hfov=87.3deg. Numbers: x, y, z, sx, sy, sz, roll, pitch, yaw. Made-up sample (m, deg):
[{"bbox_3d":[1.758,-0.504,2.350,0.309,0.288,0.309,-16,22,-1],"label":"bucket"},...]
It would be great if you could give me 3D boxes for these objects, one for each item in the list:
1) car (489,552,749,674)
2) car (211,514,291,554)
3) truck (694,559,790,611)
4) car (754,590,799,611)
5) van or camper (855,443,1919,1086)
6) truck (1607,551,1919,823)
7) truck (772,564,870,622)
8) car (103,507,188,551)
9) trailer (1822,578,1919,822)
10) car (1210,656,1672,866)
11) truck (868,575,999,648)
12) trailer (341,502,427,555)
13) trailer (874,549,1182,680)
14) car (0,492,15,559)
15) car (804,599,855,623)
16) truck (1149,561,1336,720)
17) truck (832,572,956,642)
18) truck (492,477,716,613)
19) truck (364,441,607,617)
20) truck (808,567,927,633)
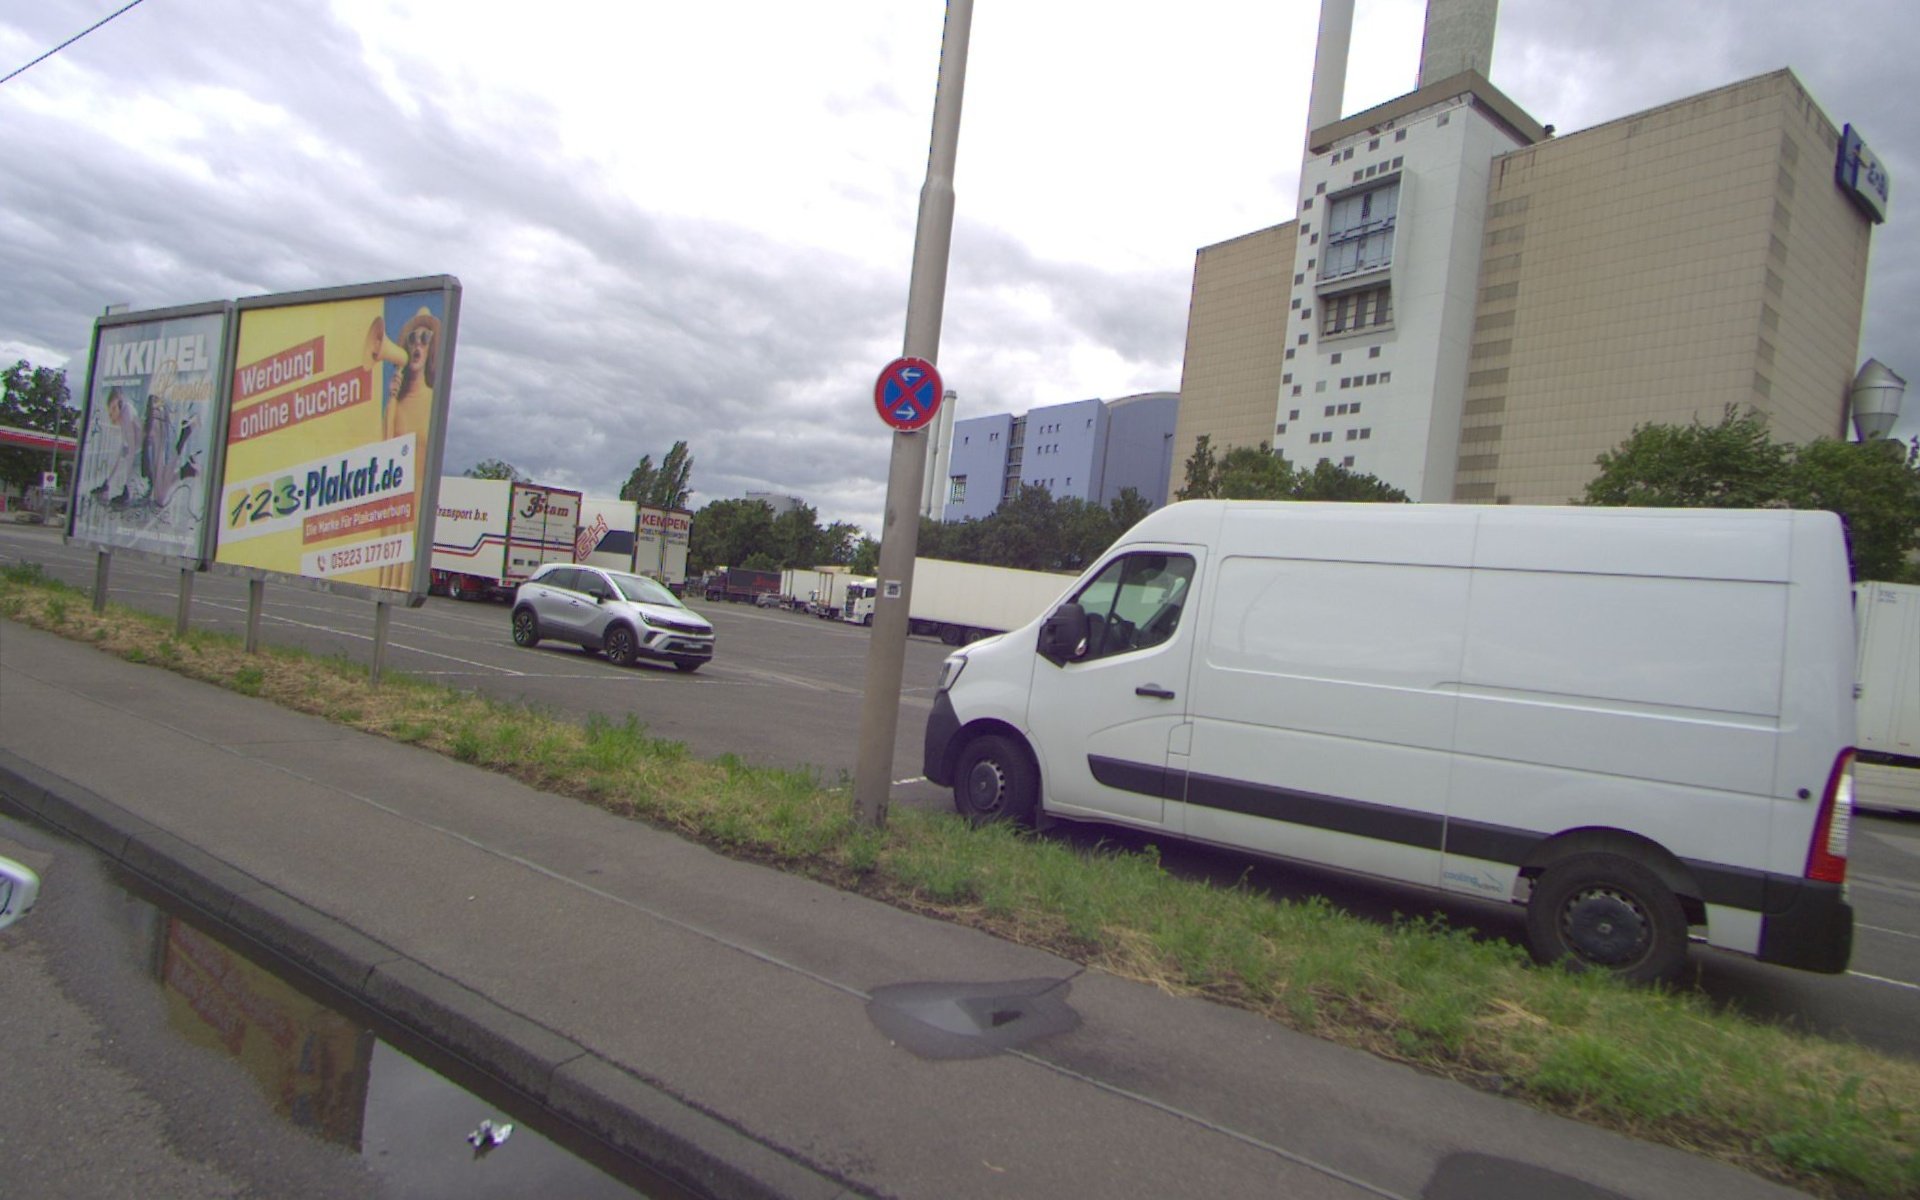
[{"bbox_3d":[-6.158,0.220,18.062,4.353,1.631,1.893,6,-1,30],"label":"car"},{"bbox_3d":[-39.473,-3.688,55.995,4.117,1.726,1.997,7,0,30],"label":"car"},{"bbox_3d":[-24.229,-1.614,112.007,9.571,4.444,3.358,8,0,-35],"label":"truck"},{"bbox_3d":[-18.929,0.088,103.613,4.062,1.597,1.876,8,-1,-39],"label":"car"},{"bbox_3d":[2.483,0.552,6.717,6.014,2.680,2.258,7,0,33],"label":"van or camper"},{"bbox_3d":[15.344,1.544,19.216,4.001,4.264,2.708,8,1,19],"label":"truck"},{"bbox_3d":[-13.648,-0.635,98.979,8.798,4.432,3.014,8,0,-37],"label":"truck"},{"bbox_3d":[-41.942,-3.649,51.819,3.932,1.726,1.997,7,0,30],"label":"car"},{"bbox_3d":[23.150,2.573,16.511,13.235,4.231,2.707,7,0,19],"label":"trailer"},{"bbox_3d":[5.359,1.703,11.533,4.357,1.461,1.893,6,-3,33],"label":"car"},{"bbox_3d":[-1.951,0.961,78.886,9.788,4.432,3.258,8,0,-37],"label":"truck"},{"bbox_3d":[-51.039,-6.322,89.056,7.365,3.739,3.018,8,0,30],"label":"trailer"},{"bbox_3d":[3.169,0.626,48.748,14.146,4.259,3.111,8,0,18],"label":"trailer"},{"bbox_3d":[-23.528,-1.943,22.826,4.356,1.461,1.894,6,-3,32],"label":"car"},{"bbox_3d":[-11.767,0.992,90.714,4.062,1.597,1.876,8,-1,-39],"label":"car"},{"bbox_3d":[9.092,1.282,32.910,5.139,4.267,2.788,8,1,12],"label":"truck"},{"bbox_3d":[-5.513,0.684,85.664,9.788,4.600,3.437,8,0,-37],"label":"truck"},{"bbox_3d":[-13.584,-2.148,38.108,8.377,4.196,3.310,7,0,34],"label":"truck"},{"bbox_3d":[-16.532,-2.546,34.797,8.376,5.156,3.310,7,0,34],"label":"truck"},{"bbox_3d":[-8.063,0.069,88.775,9.788,4.432,3.258,8,0,-37],"label":"truck"}]
